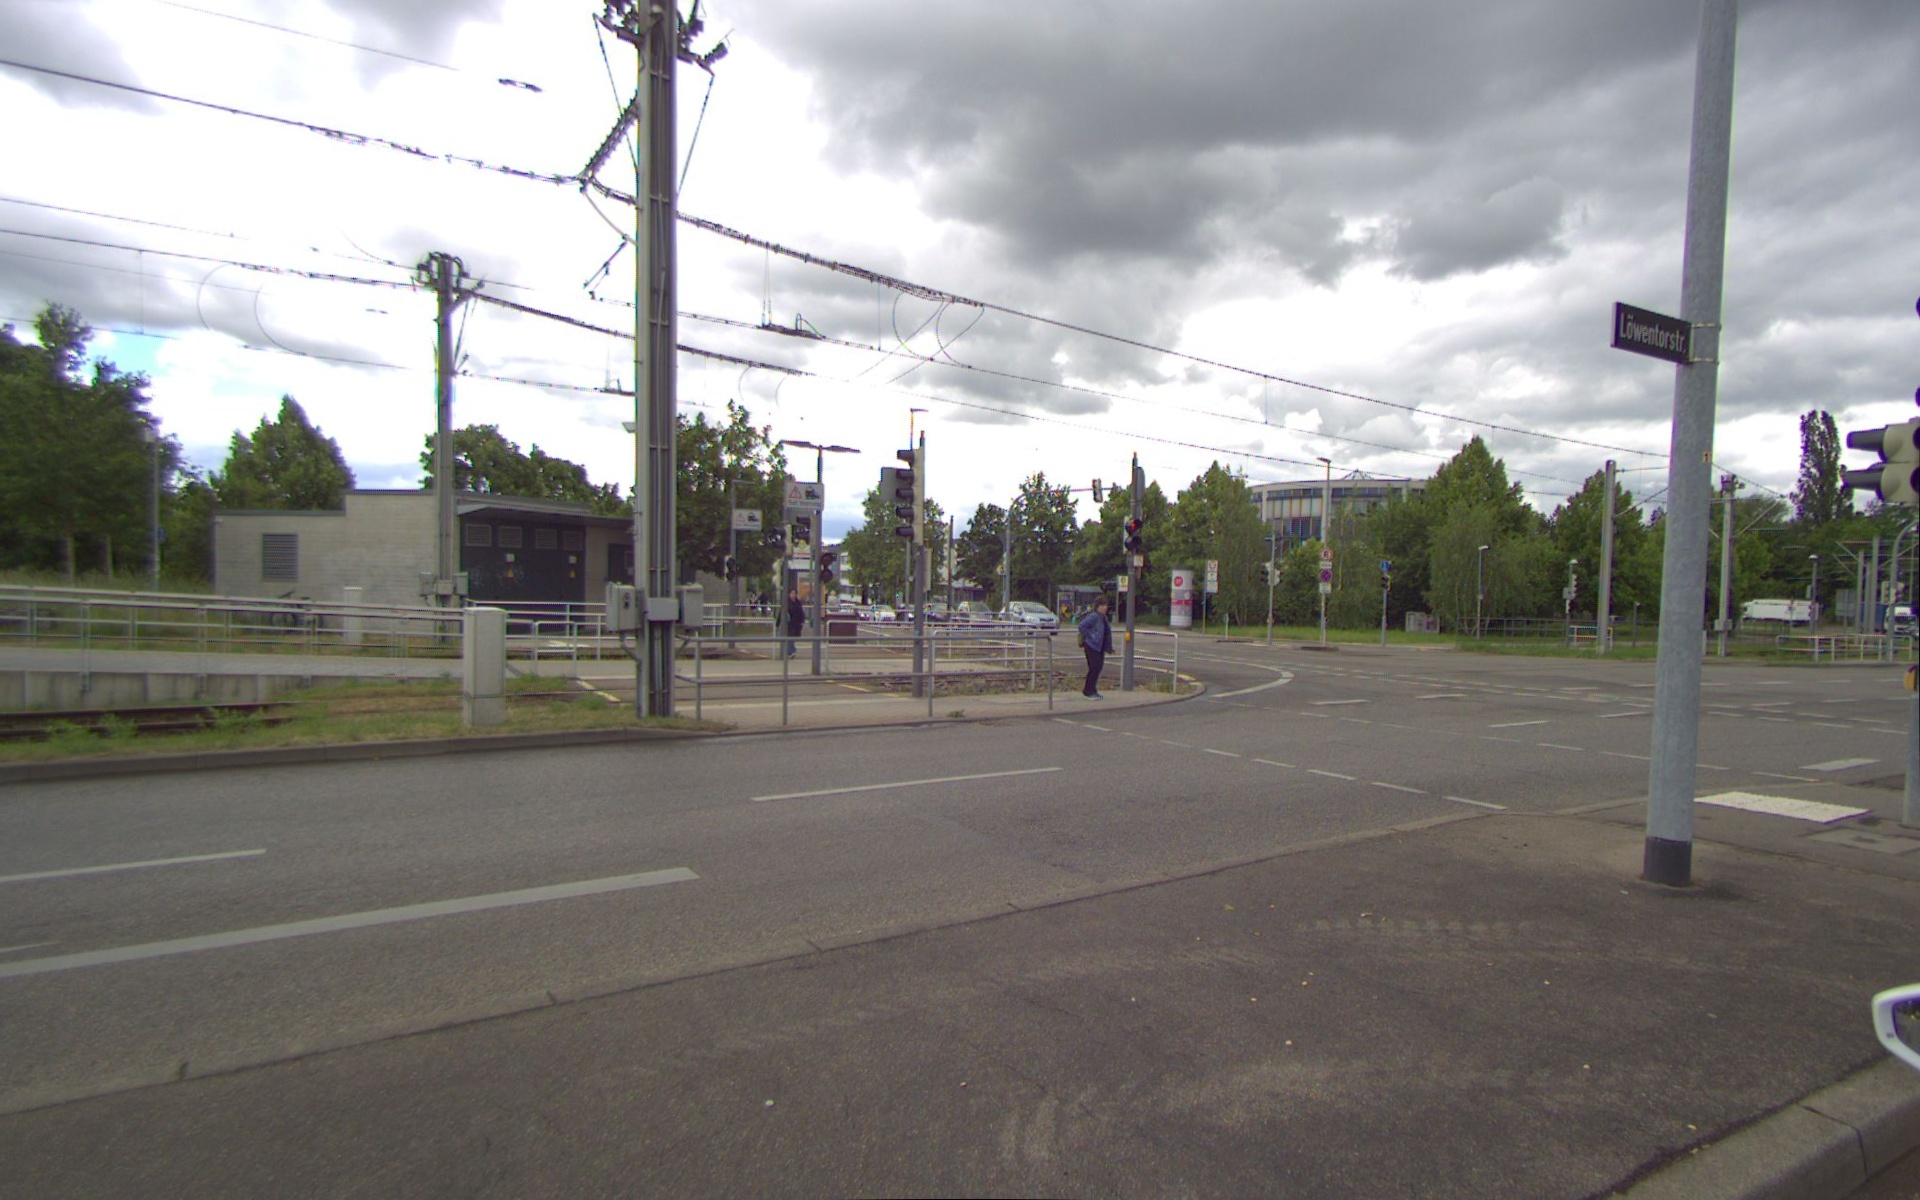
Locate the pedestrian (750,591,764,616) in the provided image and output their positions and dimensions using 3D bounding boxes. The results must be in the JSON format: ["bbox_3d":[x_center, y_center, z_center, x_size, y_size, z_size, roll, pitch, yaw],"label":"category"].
[{"bbox_3d":[-13.474,0.221,66.552,0.771,1.649,0.660,1,0,-22],"label":"pedestrian"}]

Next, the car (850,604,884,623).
[{"bbox_3d":[-7.418,1.025,79.686,1.706,1.456,3.991,1,0,-20],"label":"car"}]

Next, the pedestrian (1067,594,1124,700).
[{"bbox_3d":[2.083,0.704,15.441,0.701,1.584,0.533,1,1,-44],"label":"pedestrian"}]

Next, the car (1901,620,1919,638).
[{"bbox_3d":[90.395,2.714,94.513,1.755,1.465,4.518,-1,0,30],"label":"car"}]

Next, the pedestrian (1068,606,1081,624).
[{"bbox_3d":[8.306,1.081,72.974,0.652,1.321,0.780,1,0,-16],"label":"pedestrian"}]

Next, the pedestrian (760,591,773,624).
[{"bbox_3d":[-12.100,0.463,62.808,0.738,1.993,0.795,1,0,-9],"label":"pedestrian"}]

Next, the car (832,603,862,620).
[{"bbox_3d":[-9.769,0.989,86.717,1.706,1.456,3.731,1,0,-20],"label":"car"}]

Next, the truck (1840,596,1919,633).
[{"bbox_3d":[102.253,1.625,111.713,3.001,3.810,12.803,2,0,25],"label":"truck"}]

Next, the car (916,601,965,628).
[{"bbox_3d":[-1.150,0.819,58.166,1.706,1.456,3.731,1,0,-20],"label":"car"}]

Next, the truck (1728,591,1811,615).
[{"bbox_3d":[116.043,0.408,144.219,2.694,3.373,11.406,1,0,0],"label":"truck"}]

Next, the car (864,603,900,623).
[{"bbox_3d":[-5.813,0.965,74.783,1.706,1.456,3.731,1,0,-20],"label":"car"}]

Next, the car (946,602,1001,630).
[{"bbox_3d":[0.690,0.846,53.670,1.706,1.456,3.731,1,0,-20],"label":"car"}]

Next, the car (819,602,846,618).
[{"bbox_3d":[-11.932,0.964,94.073,1.706,1.456,3.731,1,0,-20],"label":"car"}]

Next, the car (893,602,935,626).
[{"bbox_3d":[-3.004,0.891,64.932,1.706,1.456,3.731,1,0,-20],"label":"car"}]

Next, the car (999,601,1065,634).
[{"bbox_3d":[3.302,0.802,46.811,1.706,1.456,3.731,1,0,-20],"label":"car"}]

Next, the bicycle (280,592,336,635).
[{"bbox_3d":[-17.326,0.349,26.678,1.452,1.101,0.492,1,0,22],"label":"bicycle"}]

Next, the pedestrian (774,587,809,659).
[{"bbox_3d":[-3.914,0.529,23.327,0.695,1.628,0.655,1,0,-18],"label":"pedestrian"}]

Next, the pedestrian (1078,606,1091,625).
[{"bbox_3d":[8.866,1.076,71.630,0.652,1.322,0.780,1,0,-16],"label":"pedestrian"}]
